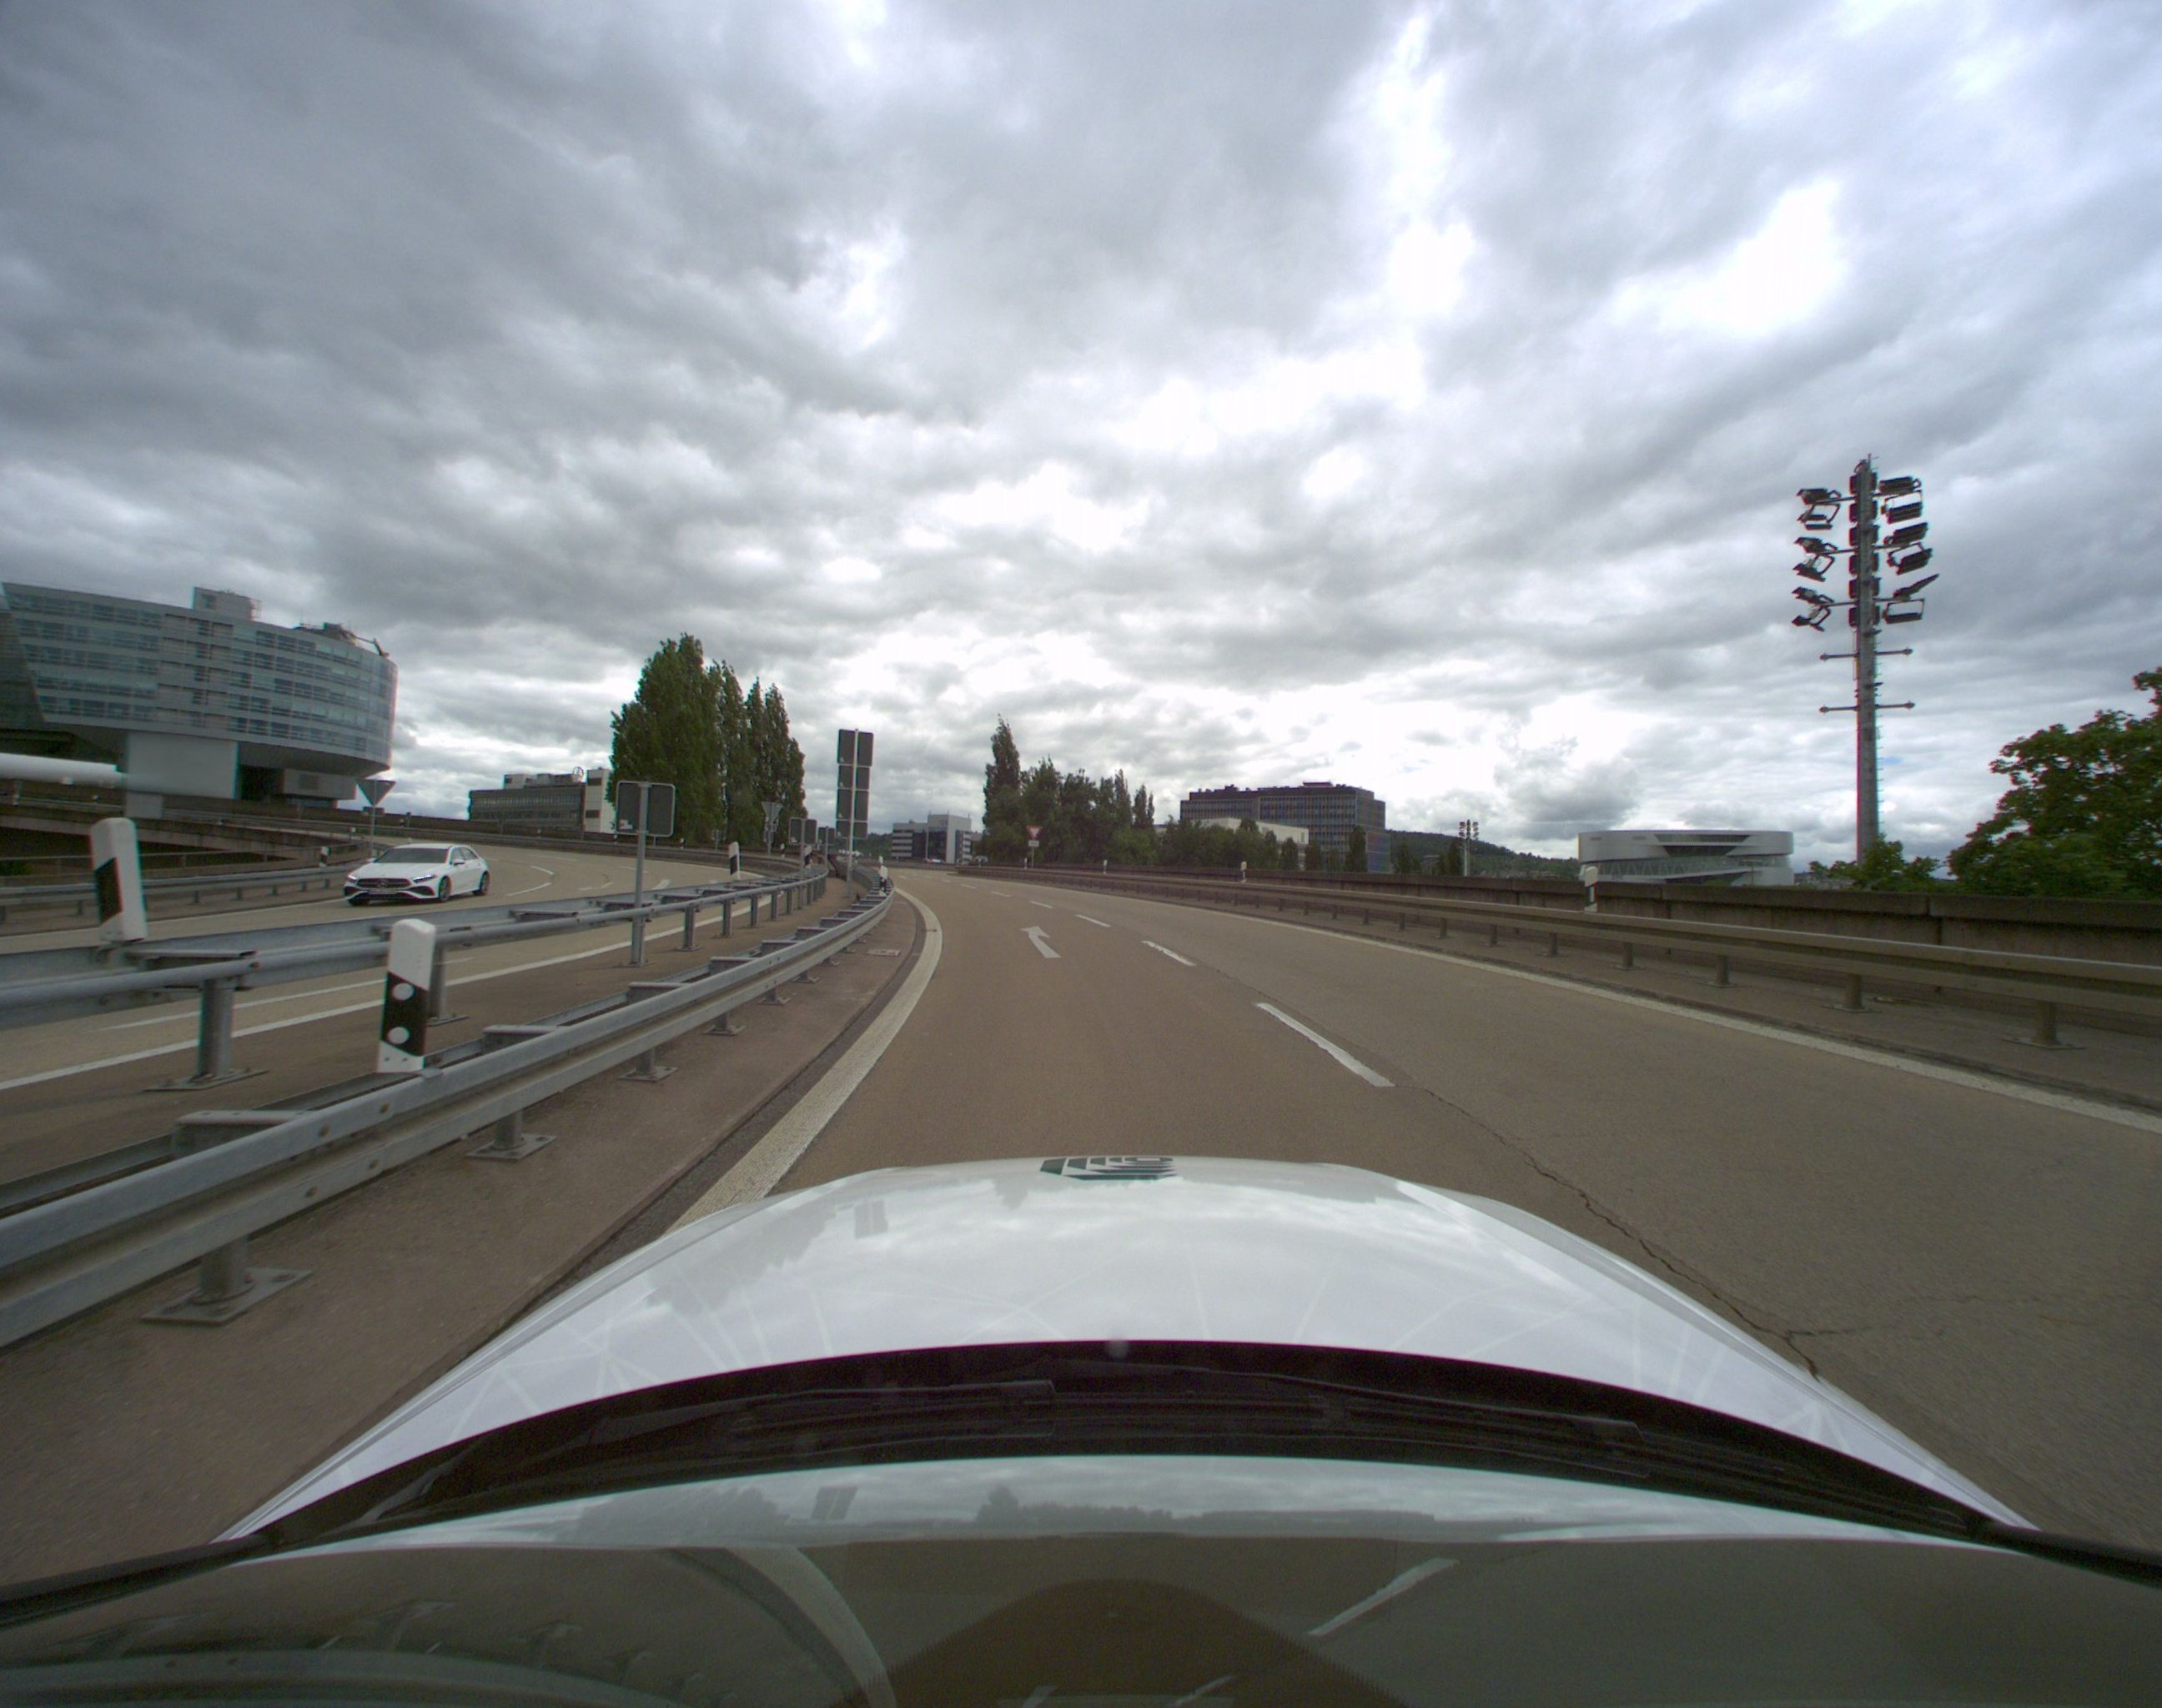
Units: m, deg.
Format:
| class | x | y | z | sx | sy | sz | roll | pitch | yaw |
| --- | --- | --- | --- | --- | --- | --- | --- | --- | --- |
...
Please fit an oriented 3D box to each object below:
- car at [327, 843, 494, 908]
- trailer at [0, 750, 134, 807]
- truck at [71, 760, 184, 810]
| class | x | y | z | sx | sy | sz | roll | pitch | yaw |
| --- | --- | --- | --- | --- | --- | --- | --- | --- | --- |
| car | -16.810 | 0.486 | 20.708 | 1.918 | 1.414 | 4.335 | -2 | 1 | -21 |
| trailer | -86.371 | -6.369 | 66.648 | 2.766 | 3.738 | 11.218 | 0 | -4 | 43 |
| truck | -82.562 | -5.863 | 70.686 | 2.743 | 3.431 | 5.999 | -1 | -4 | 43 |
